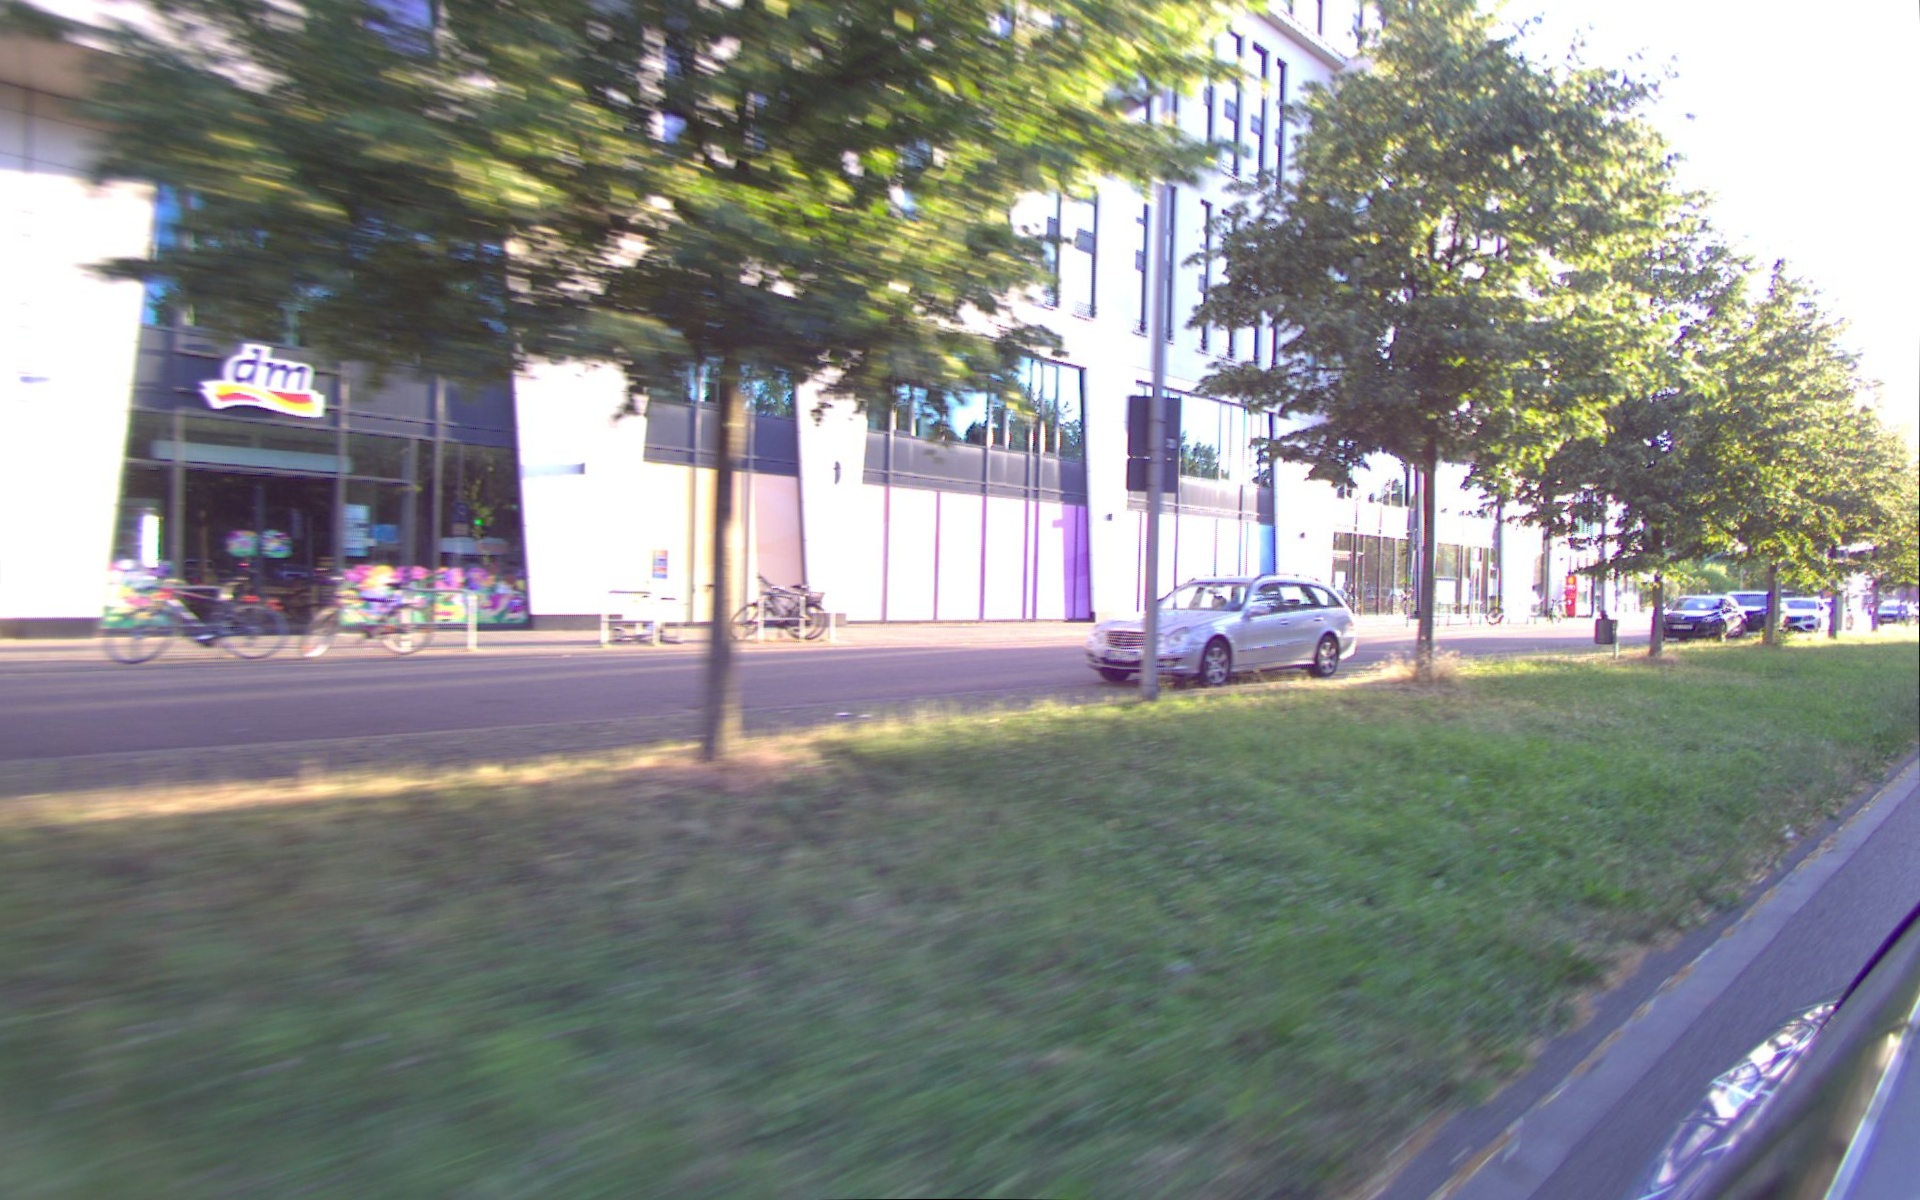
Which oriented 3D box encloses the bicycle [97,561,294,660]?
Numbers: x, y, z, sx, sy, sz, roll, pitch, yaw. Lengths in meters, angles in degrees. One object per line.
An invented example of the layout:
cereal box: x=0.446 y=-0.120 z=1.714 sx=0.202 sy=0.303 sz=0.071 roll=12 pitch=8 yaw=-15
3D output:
bicycle: x=-9.051 y=0.116 z=12.035 sx=1.824 sy=1.074 sz=0.534 roll=1 pitch=3 yaw=-41

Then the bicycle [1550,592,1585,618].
bicycle: x=25.562 y=0.189 z=42.583 sx=2.223 sy=1.046 sz=0.621 roll=0 pitch=2 yaw=-43

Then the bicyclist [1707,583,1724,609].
bicyclist: x=47.069 y=-0.232 z=63.032 sx=1.001 sy=1.588 sz=0.546 roll=1 pitch=1 yaw=-38

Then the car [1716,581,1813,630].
car: x=28.916 y=0.189 z=36.316 sx=4.737 sy=1.644 sz=1.956 roll=0 pitch=-1 yaw=-42

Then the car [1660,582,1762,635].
car: x=23.450 y=0.253 z=31.546 sx=4.158 sy=1.520 sz=1.727 roll=1 pitch=0 yaw=-41

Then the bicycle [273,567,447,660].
bicycle: x=-7.564 y=0.150 z=12.840 sx=0.532 sy=1.074 sz=1.833 roll=4 pitch=3 yaw=36

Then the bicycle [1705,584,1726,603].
bicycle: x=47.090 y=-0.389 z=63.055 sx=1.878 sy=1.132 sz=0.544 roll=1 pitch=1 yaw=-38

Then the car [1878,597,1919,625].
car: x=57.132 y=0.661 z=61.077 sx=4.288 sy=1.519 sz=1.814 roll=1 pitch=3 yaw=-38

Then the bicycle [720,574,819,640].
bicycle: x=-3.355 y=0.108 z=17.985 sx=0.532 sy=1.074 sz=1.833 roll=4 pitch=3 yaw=36

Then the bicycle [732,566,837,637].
bicycle: x=-3.046 y=0.026 z=17.669 sx=1.749 sy=1.178 sz=0.539 roll=1 pitch=3 yaw=-41

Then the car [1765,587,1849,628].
car: x=34.353 y=0.289 z=41.010 sx=4.923 sy=1.519 sz=1.924 roll=1 pitch=1 yaw=-42

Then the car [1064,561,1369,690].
car: x=3.740 y=0.287 z=14.213 sx=4.742 sy=1.519 sz=1.811 roll=1 pitch=1 yaw=-42

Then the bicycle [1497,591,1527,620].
bicycle: x=21.193 y=0.192 z=38.830 sx=1.586 sy=1.073 sz=0.533 roll=0 pitch=1 yaw=-44
